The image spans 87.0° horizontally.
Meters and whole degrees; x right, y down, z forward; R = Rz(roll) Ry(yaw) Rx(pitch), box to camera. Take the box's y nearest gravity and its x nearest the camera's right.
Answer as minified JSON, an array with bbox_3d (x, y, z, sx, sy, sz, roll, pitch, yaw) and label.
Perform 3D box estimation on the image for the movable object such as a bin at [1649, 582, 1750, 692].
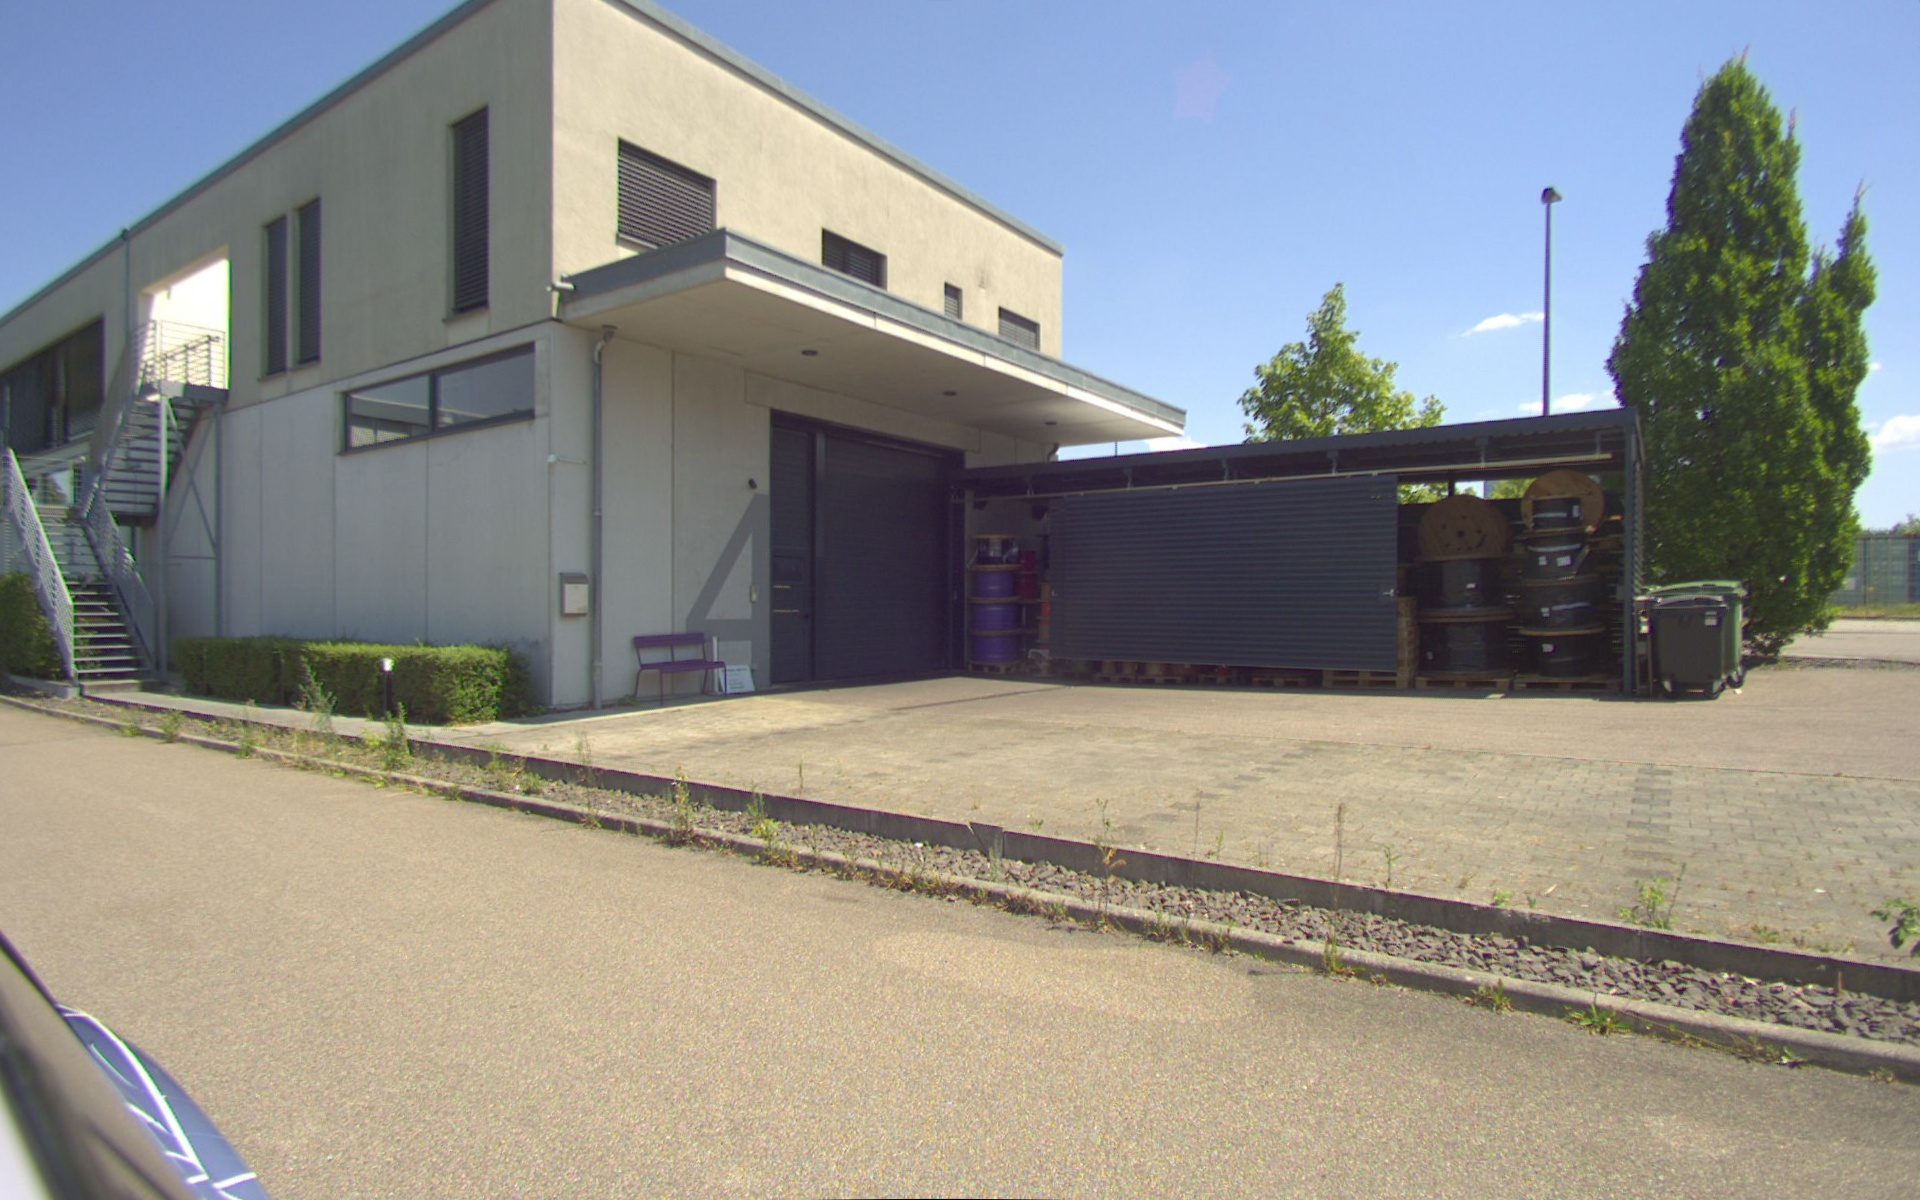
[{"bbox_3d":[9.440,0.452,12.916,0.973,1.340,0.700,-1,-1,41],"label":"movable object such as a bin"}]

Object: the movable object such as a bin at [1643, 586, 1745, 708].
[{"bbox_3d":[8.584,0.520,11.831,0.884,1.355,0.802,-1,-1,41],"label":"movable object such as a bin"}]
